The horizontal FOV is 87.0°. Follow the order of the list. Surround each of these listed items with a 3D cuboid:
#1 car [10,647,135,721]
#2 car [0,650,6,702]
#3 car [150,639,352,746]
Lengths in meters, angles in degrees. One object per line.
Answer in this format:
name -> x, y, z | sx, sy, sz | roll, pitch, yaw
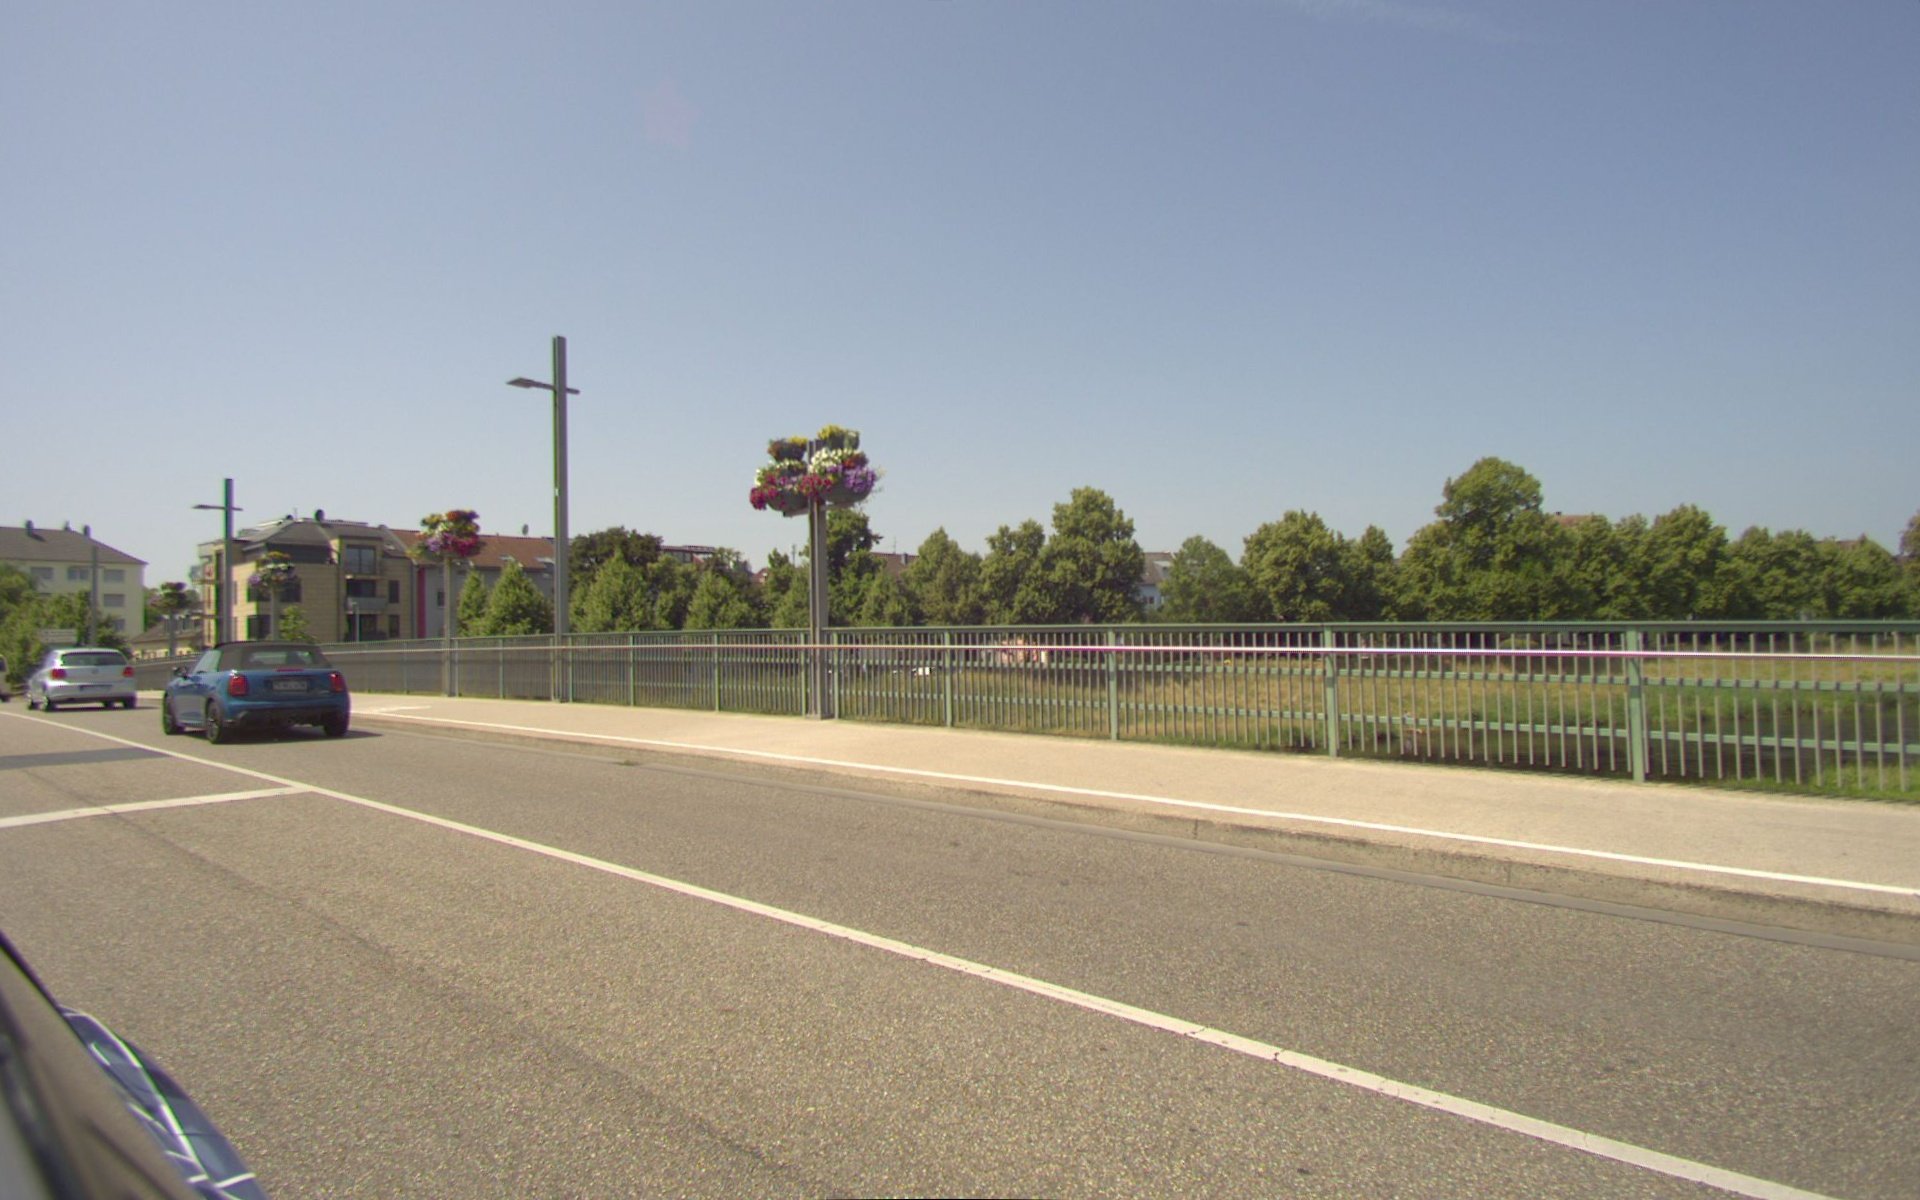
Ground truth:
car -> -21.212, 1.959, 24.147 | 3.998, 1.530, 1.742 | -4, -2, 41
car -> -37.169, 2.891, 37.862 | 4.644, 1.871, 1.741 | -4, -2, 41
car -> -11.001, 1.373, 15.621 | 3.753, 1.451, 1.640 | -3, -4, 40
